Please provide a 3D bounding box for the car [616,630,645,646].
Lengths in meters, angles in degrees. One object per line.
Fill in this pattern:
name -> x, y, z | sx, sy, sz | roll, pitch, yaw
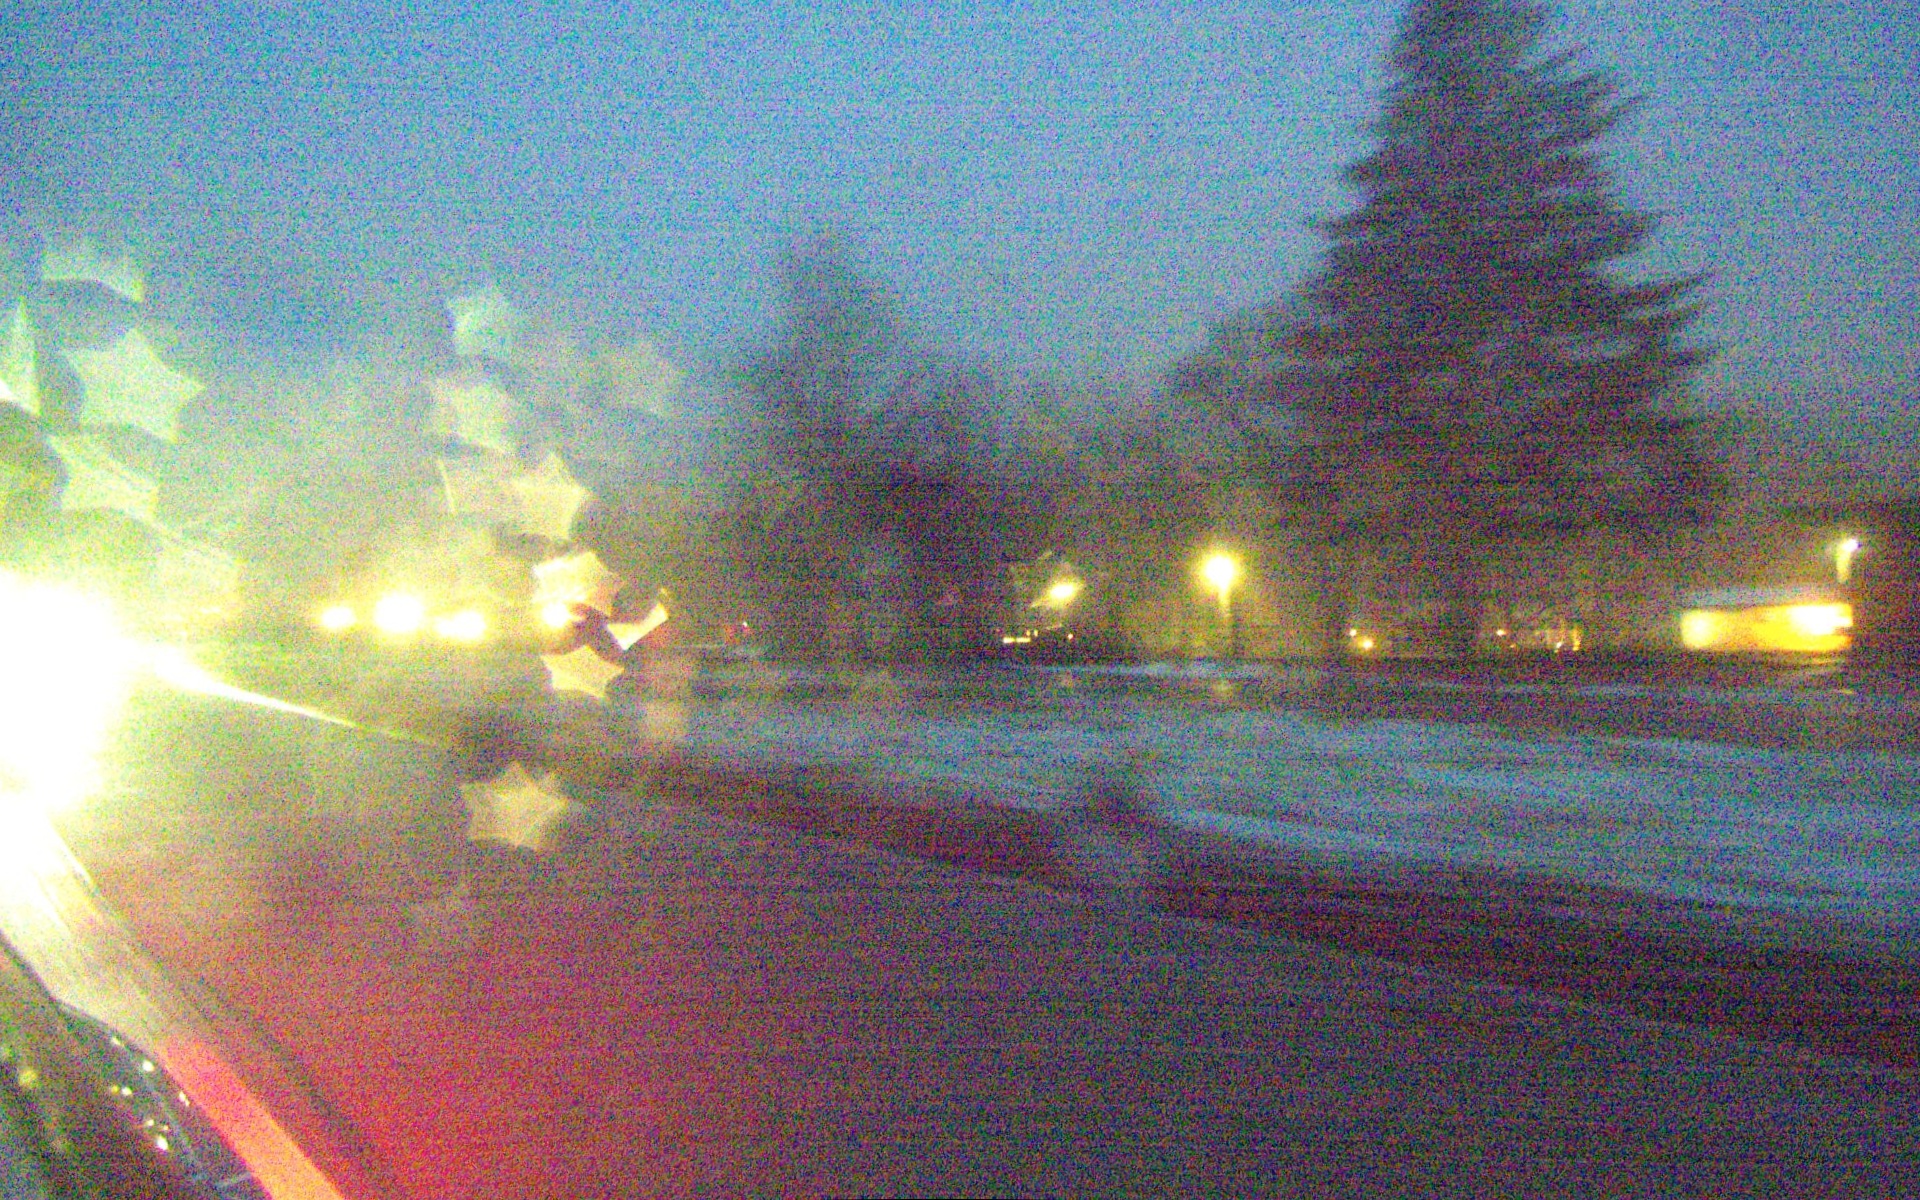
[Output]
car -> -34.684, 4.001, 106.350 | 1.635, 1.532, 3.454 | -1, 0, -42

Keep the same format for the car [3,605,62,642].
car -> -45.292, 1.113, 49.493 | 1.930, 1.735, 4.006 | 1, -1, -41

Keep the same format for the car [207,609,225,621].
car -> -96.144, 1.916, 130.814 | 1.711, 1.554, 4.011 | -1, 0, -34
